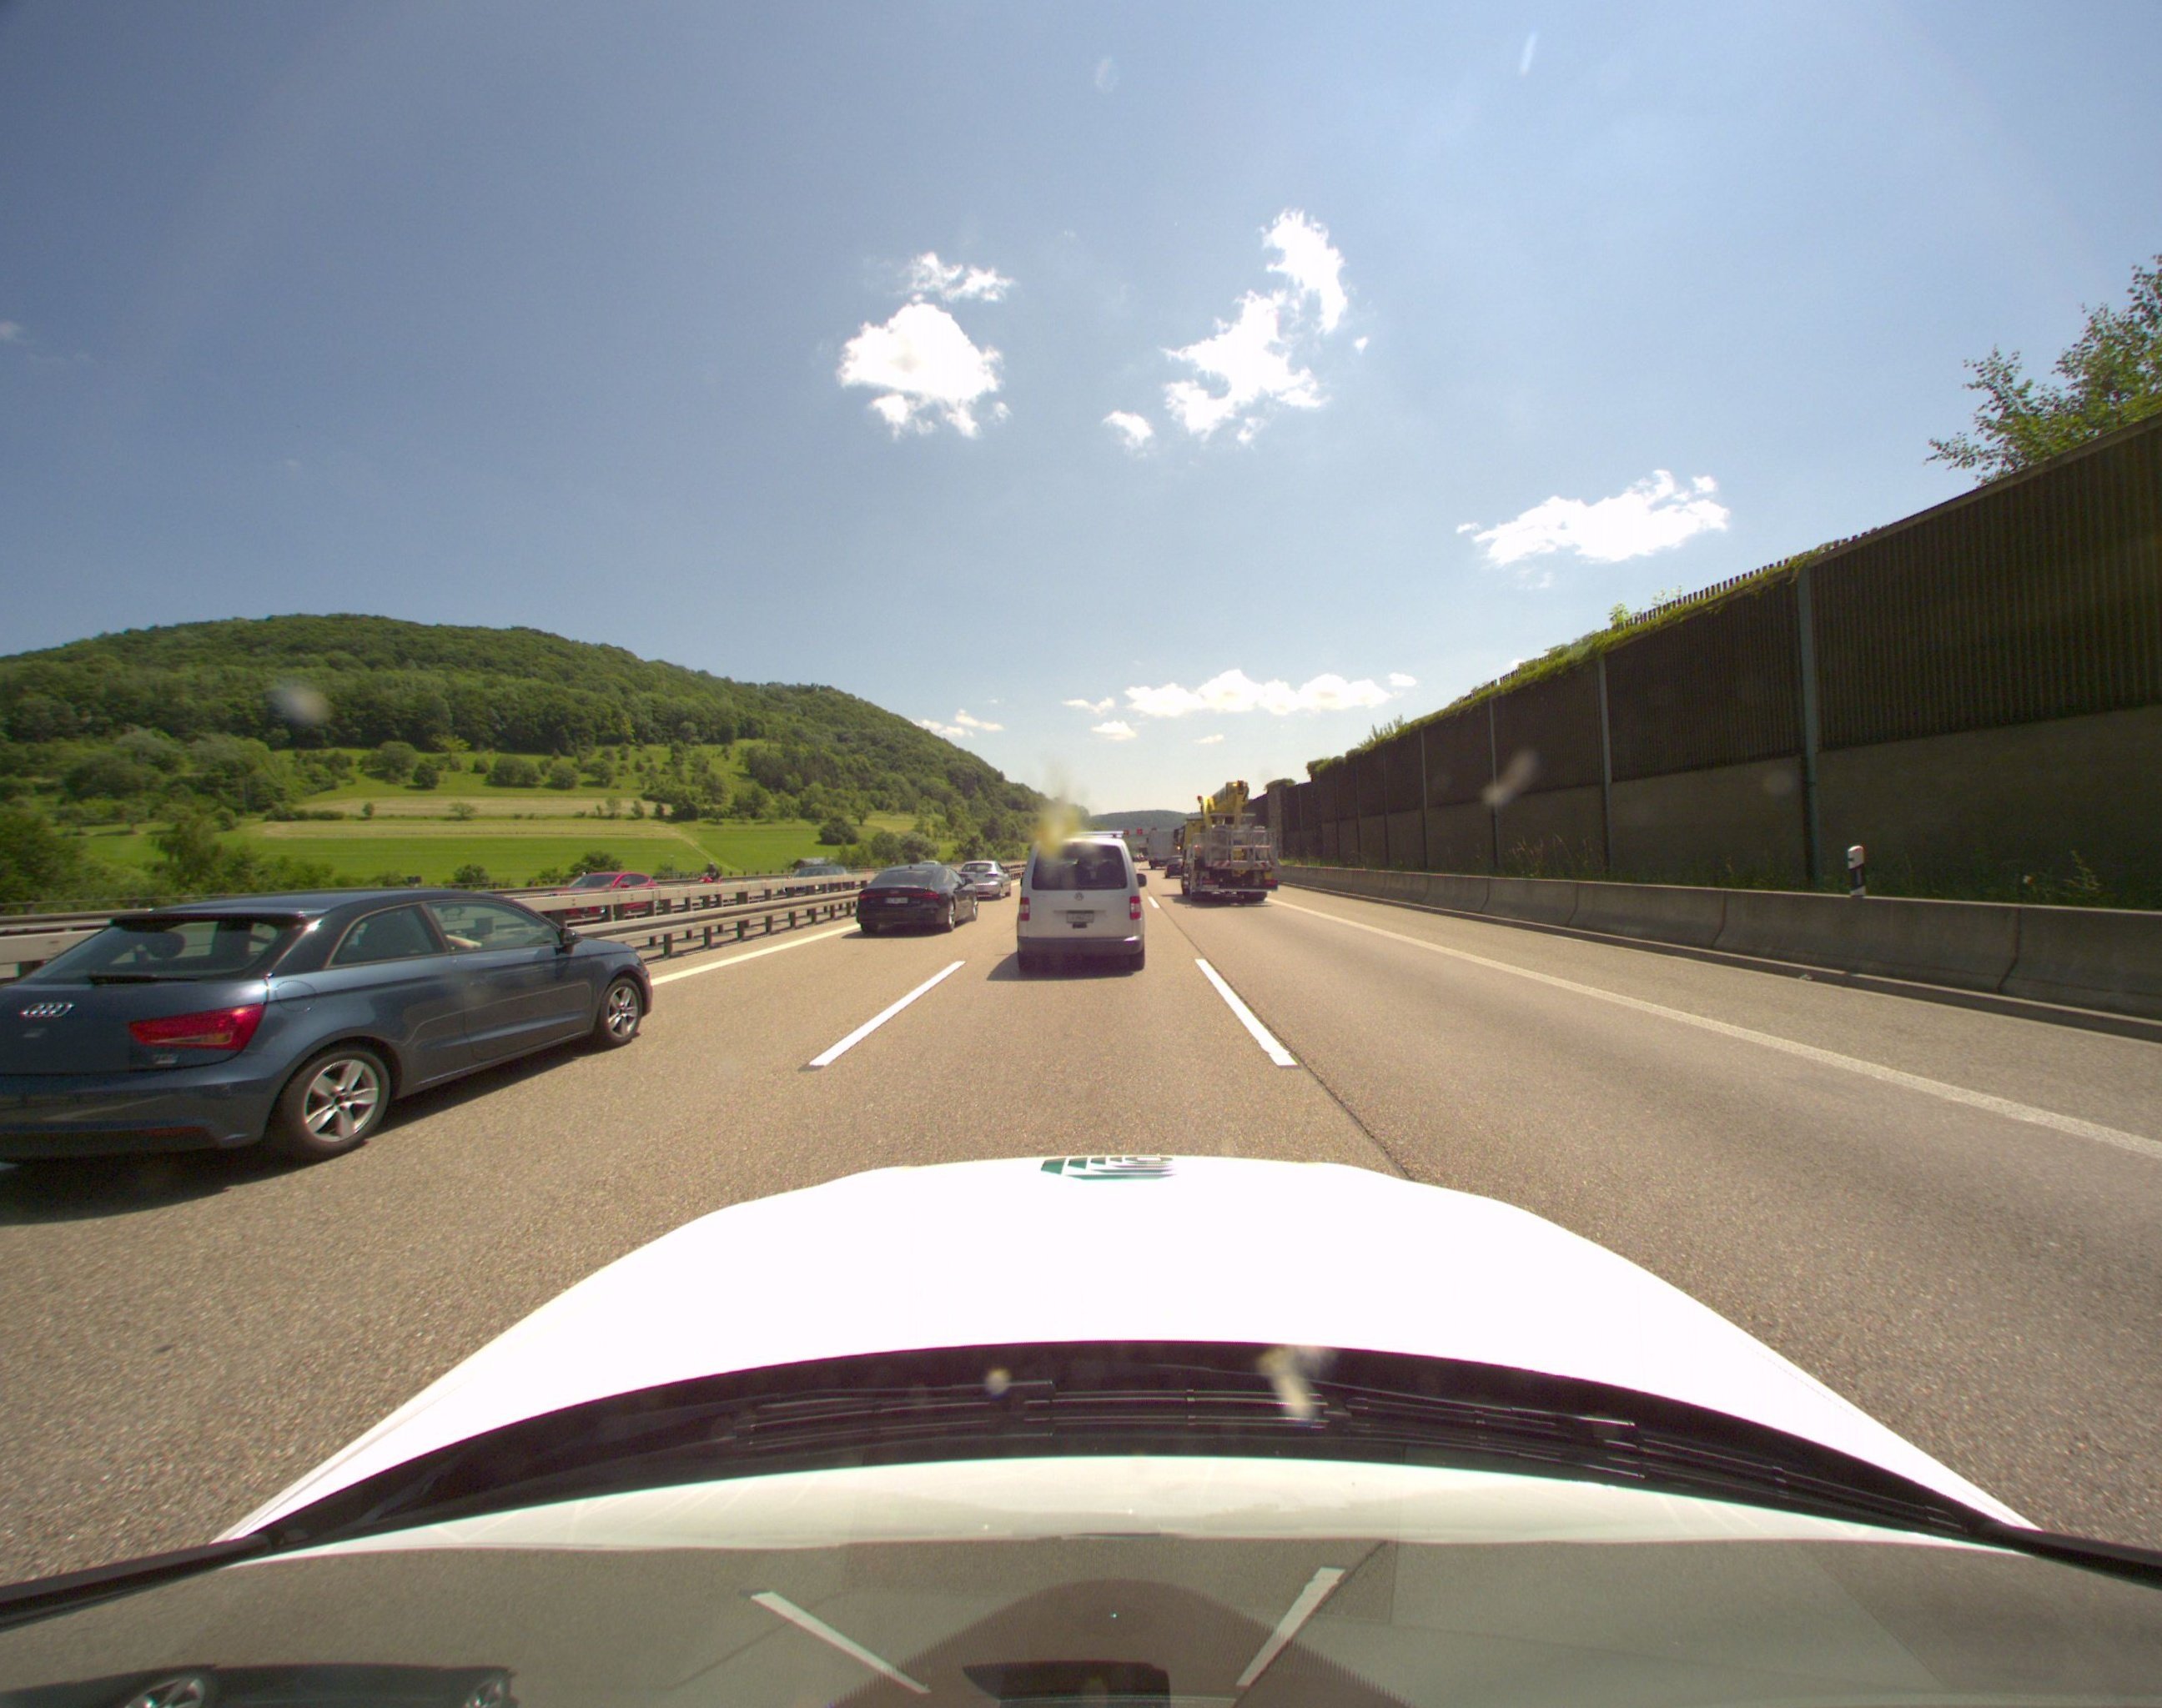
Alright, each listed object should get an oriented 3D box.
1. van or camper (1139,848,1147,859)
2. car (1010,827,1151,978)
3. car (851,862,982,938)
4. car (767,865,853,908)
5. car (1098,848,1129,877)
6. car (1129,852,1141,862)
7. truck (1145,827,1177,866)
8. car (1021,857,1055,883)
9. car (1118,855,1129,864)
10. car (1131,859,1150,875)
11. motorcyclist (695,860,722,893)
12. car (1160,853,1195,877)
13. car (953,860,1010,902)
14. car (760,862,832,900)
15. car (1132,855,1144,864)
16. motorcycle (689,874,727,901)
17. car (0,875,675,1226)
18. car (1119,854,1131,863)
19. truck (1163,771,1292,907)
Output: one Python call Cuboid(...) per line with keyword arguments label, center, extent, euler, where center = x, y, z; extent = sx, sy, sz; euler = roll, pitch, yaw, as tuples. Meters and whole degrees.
Cuboid(label="van or camper", center=(16.637, -0.080, 219.908), extent=(1.986, 2.954, 5.425), euler=(-1, -1, 2))
Cuboid(label="car", center=(-0.030, 0.617, 12.347), extent=(1.751, 1.868, 3.998), euler=(-1, 0, -1))
Cuboid(label="car", center=(-3.496, 0.914, 18.285), extent=(1.794, 1.390, 4.970), euler=(-1, 0, 1))
Cuboid(label="car", center=(-10.548, 1.218, 32.034), extent=(1.743, 1.468, 4.629), euler=(-1, 0, 1))
Cuboid(label="car", center=(2.328, 0.609, 58.948), extent=(1.988, 1.975, 3.998), euler=(-1, 0, -1))
Cuboid(label="car", center=(9.639, 0.527, 144.686), extent=(1.986, 1.749, 4.002), euler=(-1, -1, 2))
Cuboid(label="truck", center=(8.201, -0.656, 84.273), extent=(2.928, 3.823, 8.243), euler=(-1, -1, 3))
Cuboid(label="car", center=(-2.585, 0.945, 49.577), extent=(1.919, 1.499, 3.998), euler=(-1, 0, -1))
Cuboid(label="car", center=(9.645, 1.282, 185.090), extent=(2.108, 1.828, 3.998), euler=(0, -1, -1))
Cuboid(label="car", center=(7.211, 1.530, 98.358), extent=(2.106, 1.828, 4.001), euler=(-1, -1, 2))
Cuboid(label="motorcyclist", center=(-17.498, 1.043, 38.307), extent=(0.841, 1.501, 0.838), euler=(-1, 0, 0))
Cuboid(label="car", center=(6.277, 0.707, 53.490), extent=(1.781, 1.458, 3.769), euler=(-1, 0, -1))
Cuboid(label="car", center=(-3.663, 0.962, 30.557), extent=(1.690, 1.445, 3.860), euler=(-1, 0, -1))
Cuboid(label="car", center=(-14.202, 1.322, 40.858), extent=(1.986, 1.792, 4.277), euler=(-1, -1, 2))
Cuboid(label="car", center=(11.741, 1.136, 166.834), extent=(2.108, 1.828, 3.998), euler=(0, -1, -1))
Cuboid(label="motorcycle", center=(-17.490, 1.545, 38.235), extent=(0.715, 1.149, 2.130), euler=(-1, 0, 1))
Cuboid(label="car", center=(-4.664, 0.902, 5.481), extent=(1.682, 1.388, 4.002), euler=(-1, 0, 2))
Cuboid(label="car", center=(8.851, 0.902, 163.667), extent=(2.108, 1.828, 3.998), euler=(0, -1, -1))
Cuboid(label="truck", center=(4.772, -0.440, 28.389), extent=(2.696, 3.942, 8.717), euler=(-1, 0, -1))
